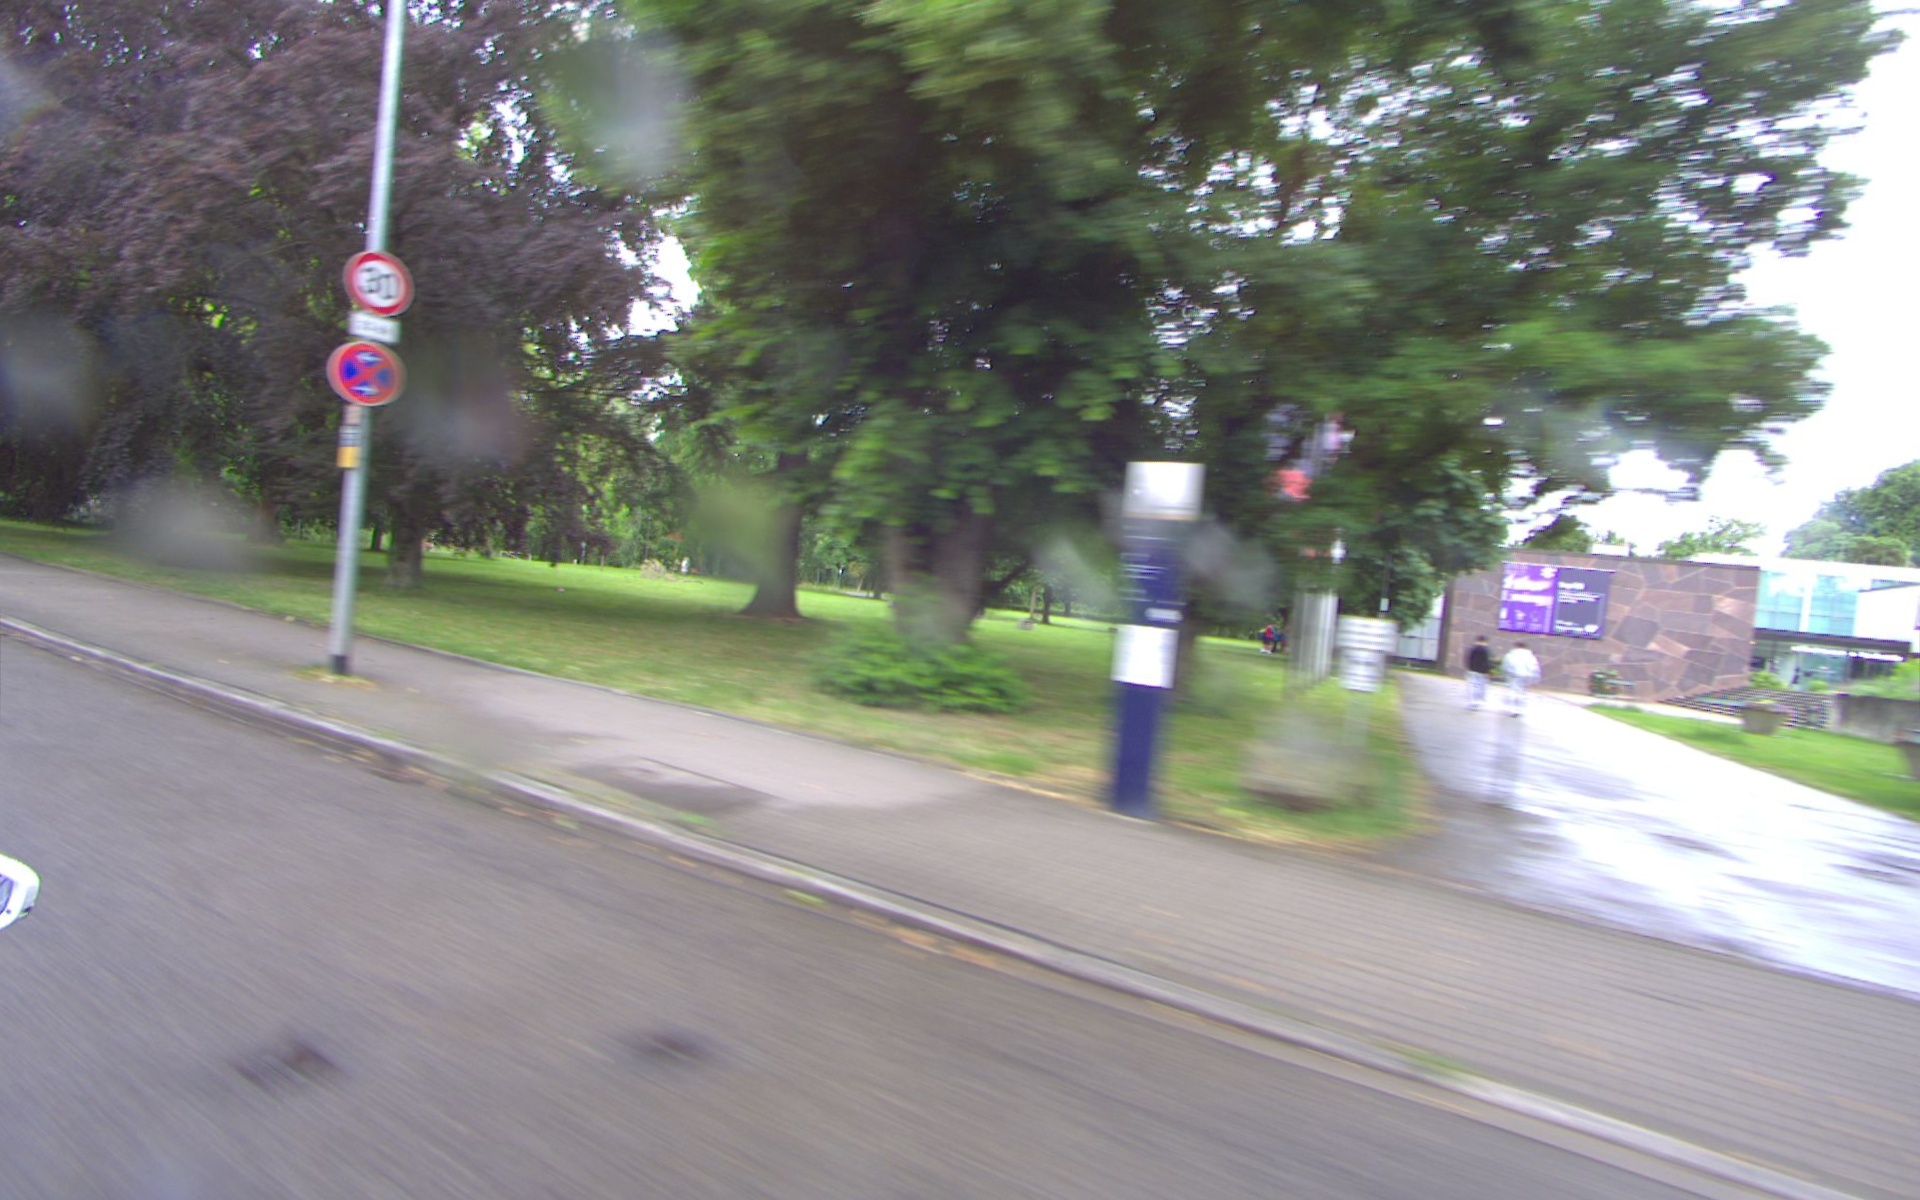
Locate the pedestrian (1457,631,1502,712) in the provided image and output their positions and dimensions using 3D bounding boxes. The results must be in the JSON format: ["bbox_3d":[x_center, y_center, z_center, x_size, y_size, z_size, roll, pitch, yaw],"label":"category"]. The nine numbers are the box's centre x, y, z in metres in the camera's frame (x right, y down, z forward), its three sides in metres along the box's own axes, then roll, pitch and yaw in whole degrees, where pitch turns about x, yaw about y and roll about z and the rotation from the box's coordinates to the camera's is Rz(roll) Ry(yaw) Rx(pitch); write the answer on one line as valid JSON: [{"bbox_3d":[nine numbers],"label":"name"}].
[{"bbox_3d":[12.119,1.670,23.503,0.711,1.776,0.666,6,-1,23],"label":"pedestrian"}]

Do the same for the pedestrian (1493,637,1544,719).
[{"bbox_3d":[12.675,1.768,22.855,0.776,1.732,0.666,6,-1,23],"label":"pedestrian"}]
